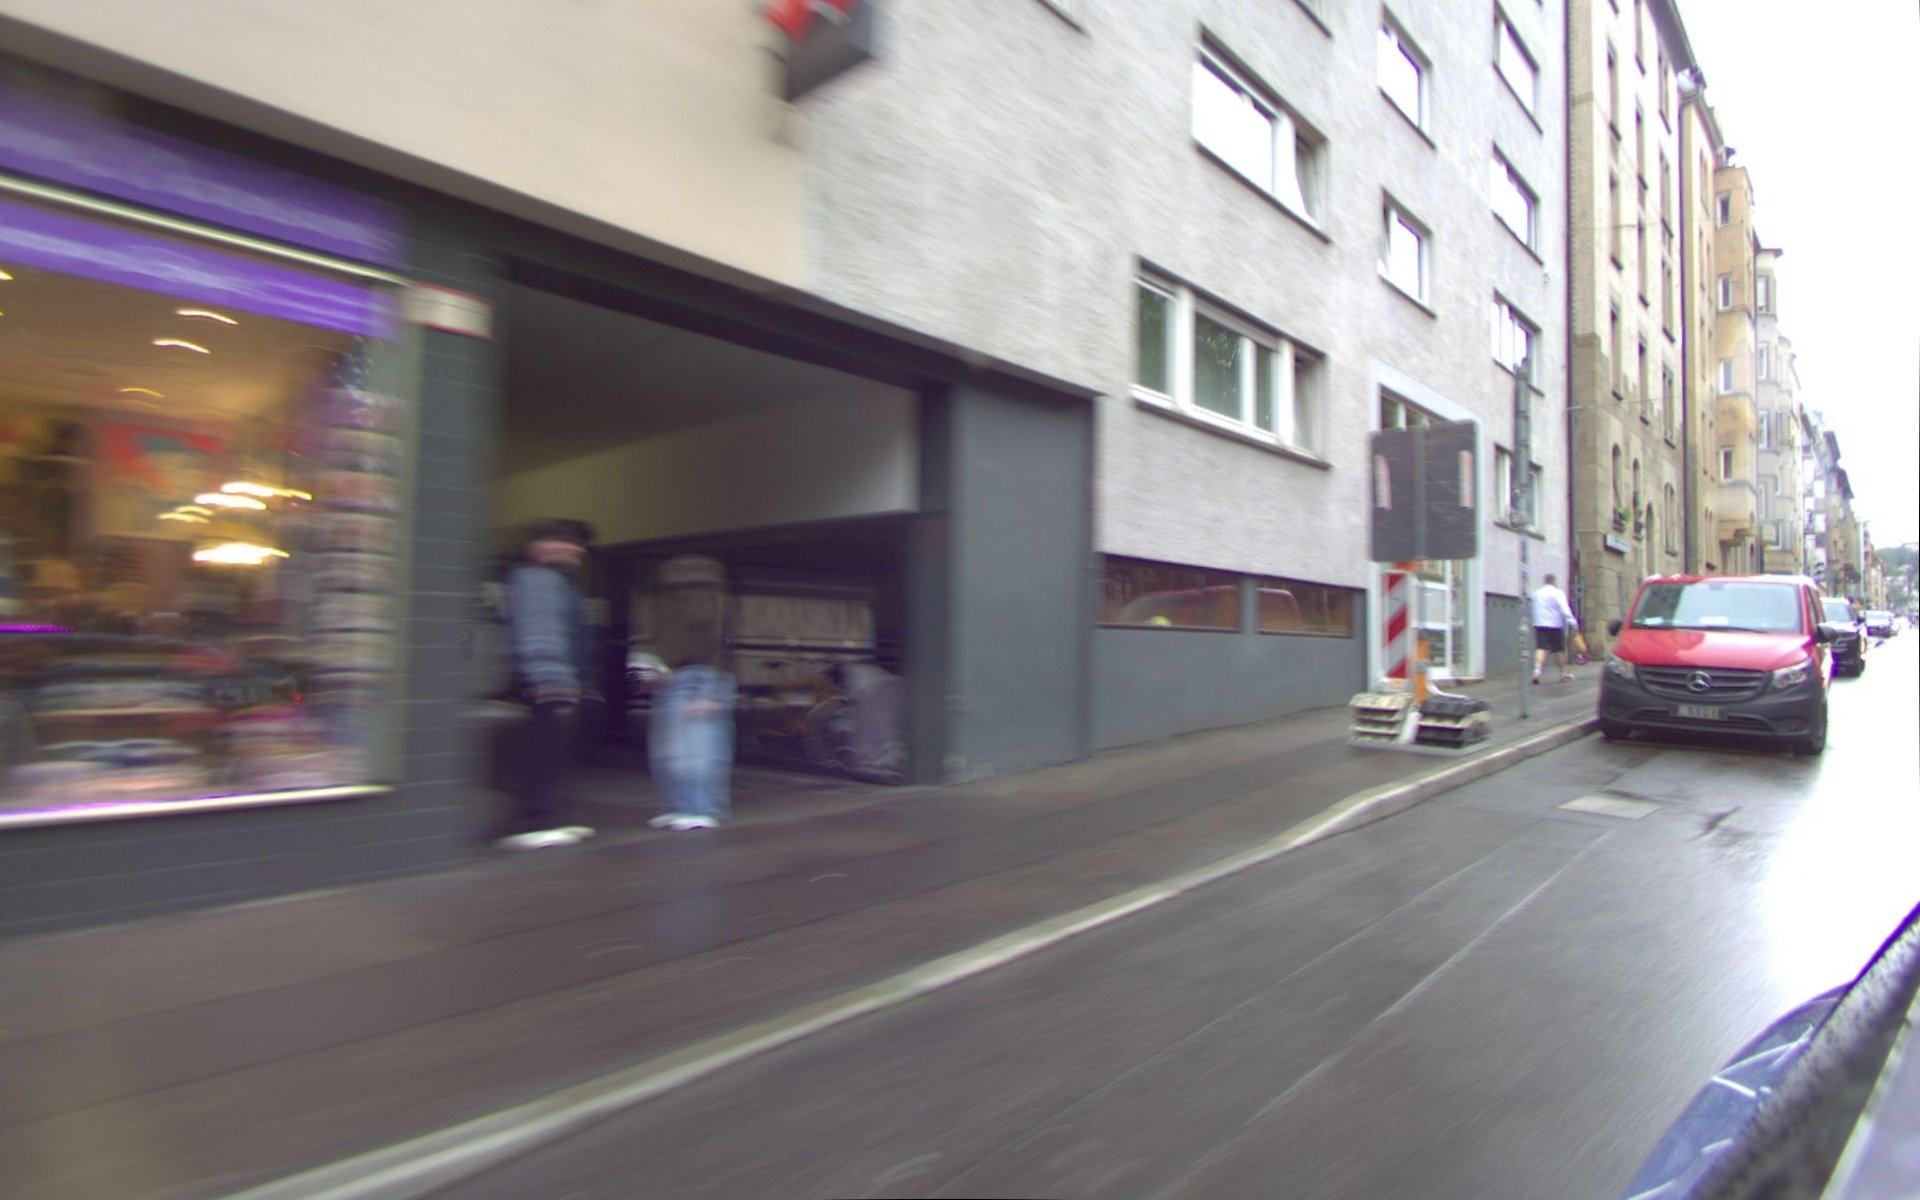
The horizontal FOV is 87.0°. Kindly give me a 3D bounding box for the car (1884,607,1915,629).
[{"bbox_3d":[74.213,1.409,79.964,1.741,1.680,3.936,0,-1,44],"label":"car"}]

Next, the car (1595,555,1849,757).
[{"bbox_3d":[9.141,0.510,11.929,1.973,1.861,5.166,0,0,42],"label":"car"}]

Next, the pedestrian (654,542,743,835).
[{"bbox_3d":[-1.573,0.507,6.068,0.325,1.666,0.481,1,-2,-42],"label":"pedestrian"}]

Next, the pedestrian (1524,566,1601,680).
[{"bbox_3d":[9.746,0.370,16.368,0.851,1.780,0.824,-2,-2,44],"label":"pedestrian"}]

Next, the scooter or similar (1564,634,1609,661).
[{"bbox_3d":[13.055,0.989,21.108,0.252,0.513,0.863,0,0,-15],"label":"scooter or similar"}]

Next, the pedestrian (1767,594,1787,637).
[{"bbox_3d":[34.477,0.666,42.725,0.578,1.774,0.565,1,-2,45],"label":"pedestrian"}]

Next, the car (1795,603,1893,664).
[{"bbox_3d":[23.563,0.840,26.940,3.550,1.471,1.662,-1,0,-44],"label":"car"}]

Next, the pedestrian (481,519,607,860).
[{"bbox_3d":[-2.266,0.454,5.506,0.507,1.742,0.462,-1,-1,-37],"label":"pedestrian"}]

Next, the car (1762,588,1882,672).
[{"bbox_3d":[19.608,0.637,22.961,1.766,1.730,4.426,0,-1,44],"label":"car"}]

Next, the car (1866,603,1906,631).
[{"bbox_3d":[55.864,1.055,61.071,1.740,1.606,3.937,0,-1,43],"label":"car"}]

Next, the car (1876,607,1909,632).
[{"bbox_3d":[68.650,1.451,74.496,1.741,1.762,3.936,0,-1,44],"label":"car"}]
